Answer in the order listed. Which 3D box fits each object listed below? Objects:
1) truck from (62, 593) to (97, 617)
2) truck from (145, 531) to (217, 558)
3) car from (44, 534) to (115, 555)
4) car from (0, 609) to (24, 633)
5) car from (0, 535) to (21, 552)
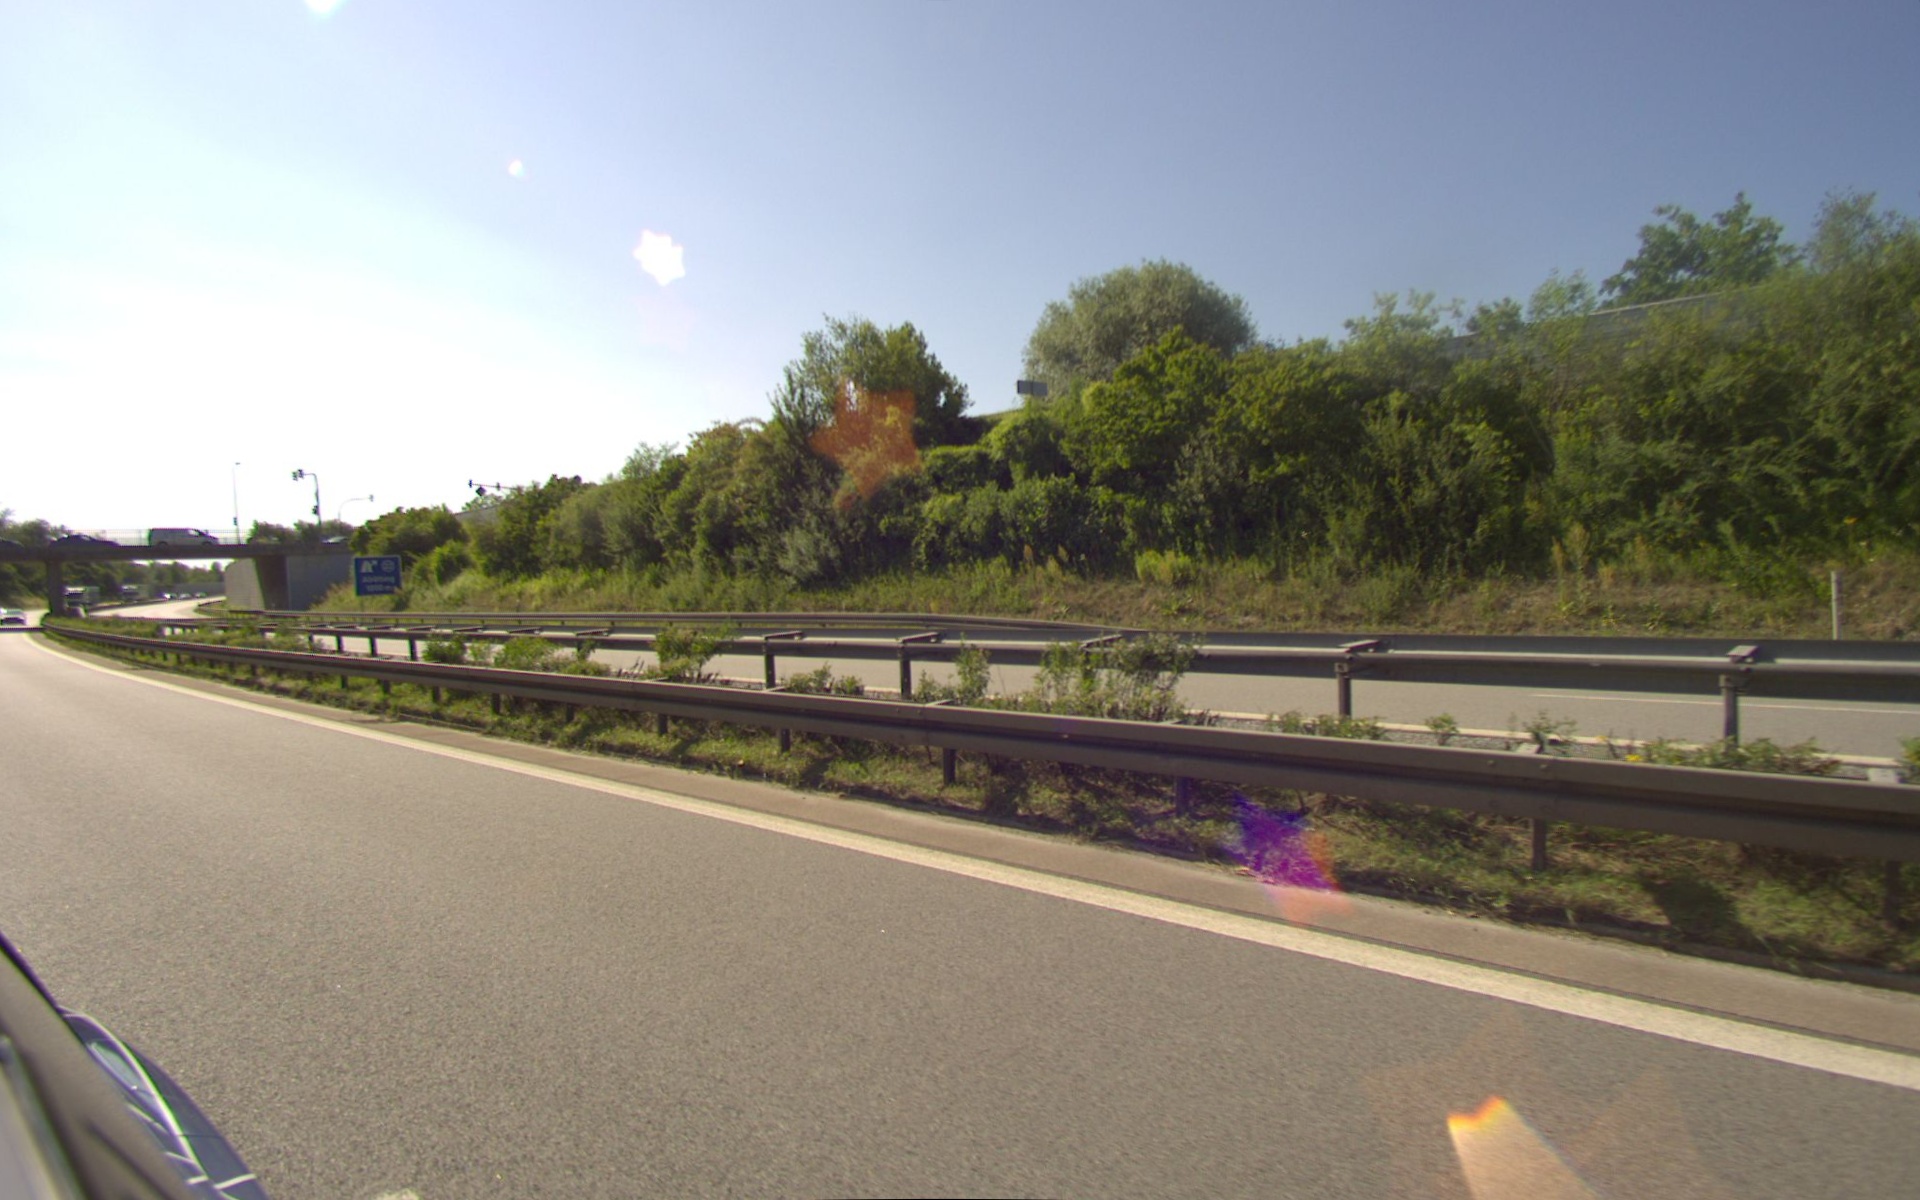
[{"bbox_3d":[-158.032,0.813,181.822,3.380,4.243,12.116,-1,1,-35],"label":"truck"},{"bbox_3d":[-67.827,-4.819,88.176,4.797,2.183,2.003,-1,1,-42],"label":"truck"},{"bbox_3d":[-72.814,-4.564,83.746,4.375,1.567,1.909,-1,1,-43],"label":"car"},{"bbox_3d":[-86.308,1.886,91.807,1.969,2.029,4.605,-2,0,-42],"label":"car"},{"bbox_3d":[-76.709,-4.490,79.870,3.788,1.315,1.826,-1,1,-43],"label":"car"}]
